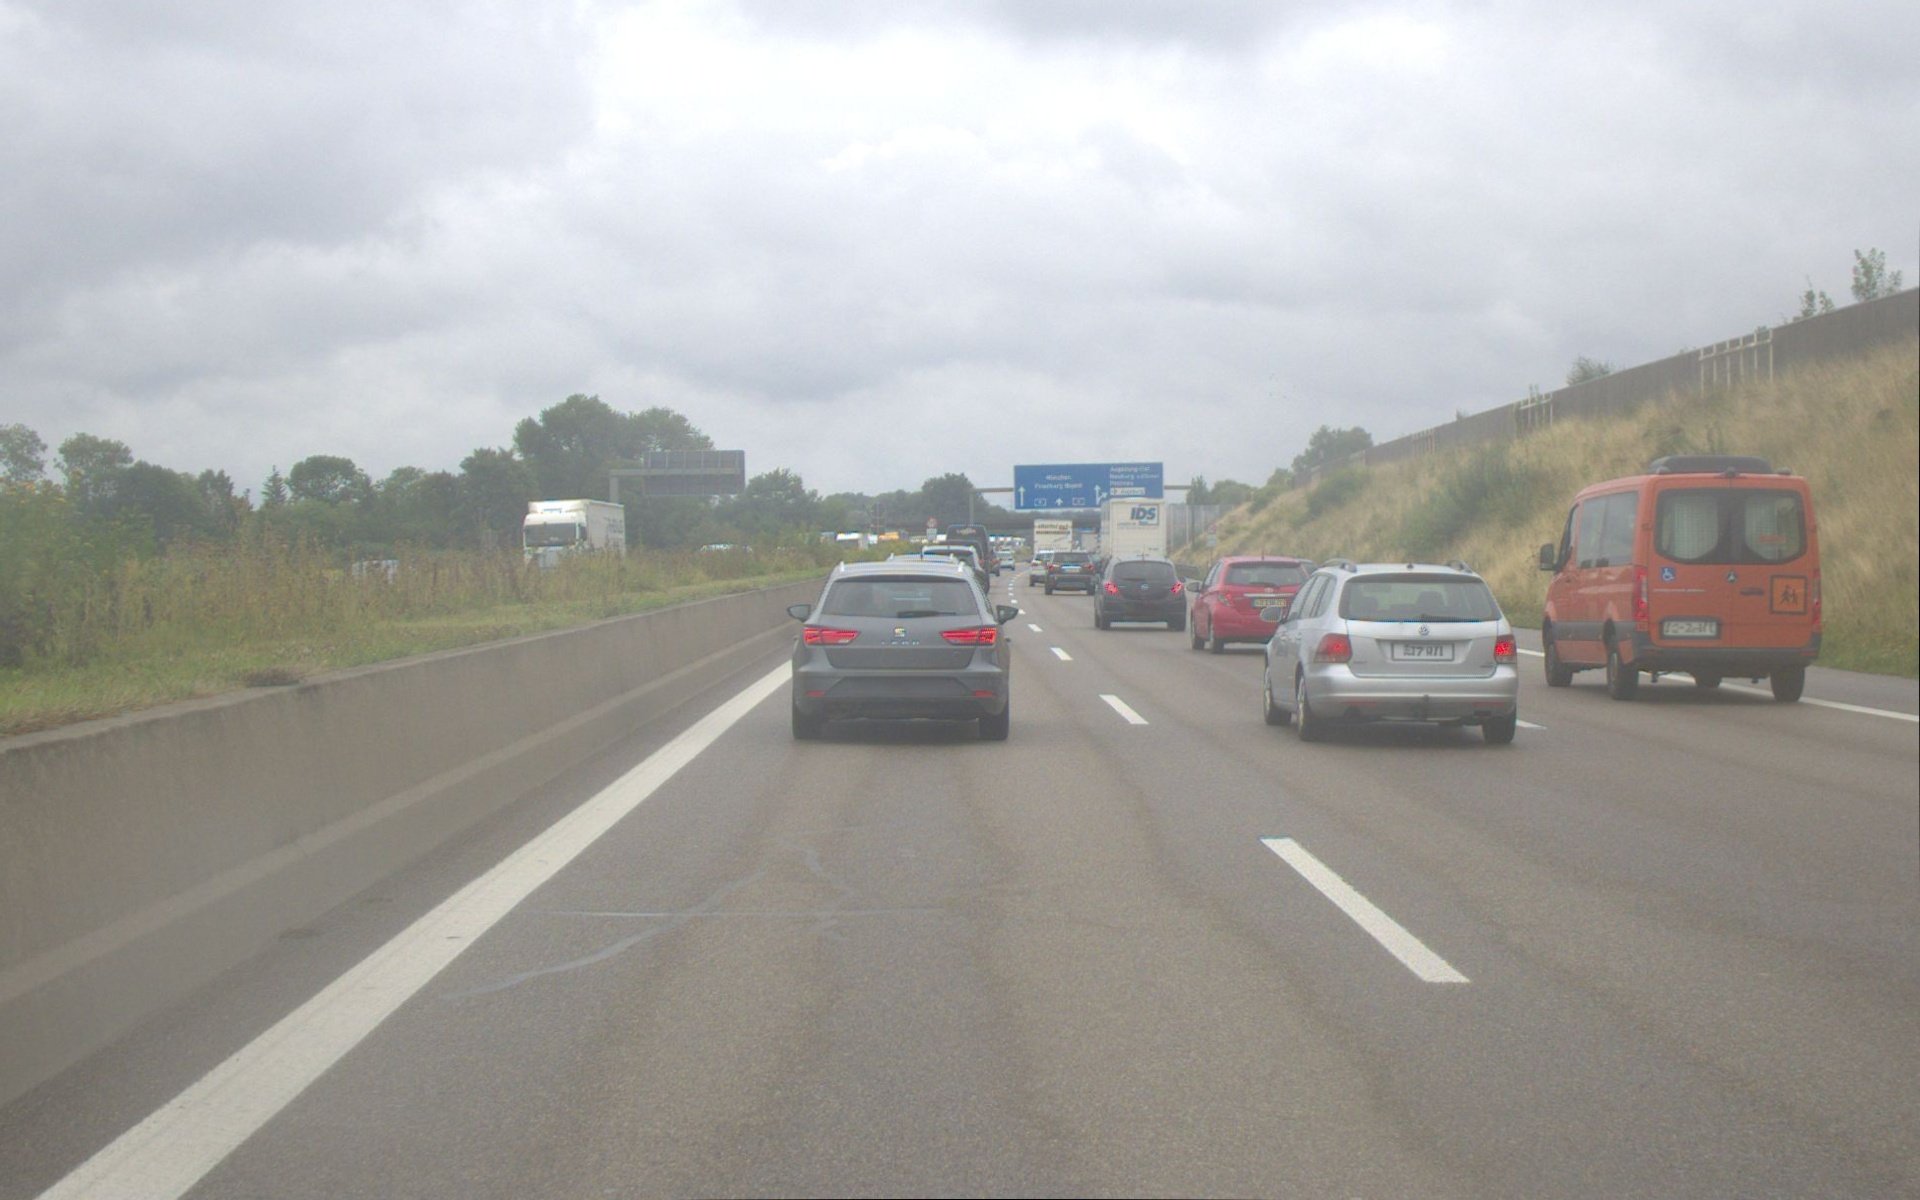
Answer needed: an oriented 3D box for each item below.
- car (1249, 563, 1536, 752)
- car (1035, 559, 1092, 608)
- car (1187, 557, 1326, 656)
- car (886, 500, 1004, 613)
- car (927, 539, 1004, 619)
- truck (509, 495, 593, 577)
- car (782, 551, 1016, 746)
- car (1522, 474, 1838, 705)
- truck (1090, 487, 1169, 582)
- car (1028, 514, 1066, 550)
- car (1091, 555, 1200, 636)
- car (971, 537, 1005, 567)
[{"bbox_3d":[3.541,0.421,28.861,1.742,1.420,4.517,-1,1,-1],"label":"car"},{"bbox_3d":[3.673,-0.604,122.947,1.845,1.681,4.000,1,1,-1],"label":"car"},{"bbox_3d":[4.574,0.071,53.600,1.891,1.442,4.685,0,1,2],"label":"car"},{"bbox_3d":[-0.206,-0.701,55.928,1.754,1.744,4.000,1,1,2],"label":"car"},{"bbox_3d":[0.150,-0.513,81.270,1.704,1.790,3.855,-2,1,1],"label":"car"},{"bbox_3d":[-17.592,-2.721,148.111,2.969,3.417,5.628,1,1,-1],"label":"truck"},{"bbox_3d":[-0.434,0.352,28.319,1.768,1.462,4.000,1,1,1],"label":"car"},{"bbox_3d":[7.724,-0.167,37.552,2.086,2.307,6.182,0,1,-1],"label":"car"},{"bbox_3d":[8.065,-3.075,165.687,3.283,4.280,19.032,1,1,1],"label":"truck"},{"bbox_3d":[4.912,-3.868,195.584,1.993,2.007,4.000,-1,1,-1],"label":"car"},{"bbox_3d":[3.673,-0.119,68.766,1.921,1.516,4.622,0,1,0],"label":"car"},{"bbox_3d":[1.700,-2.952,209.709,1.993,1.807,4.597,0,1,0],"label":"car"}]
